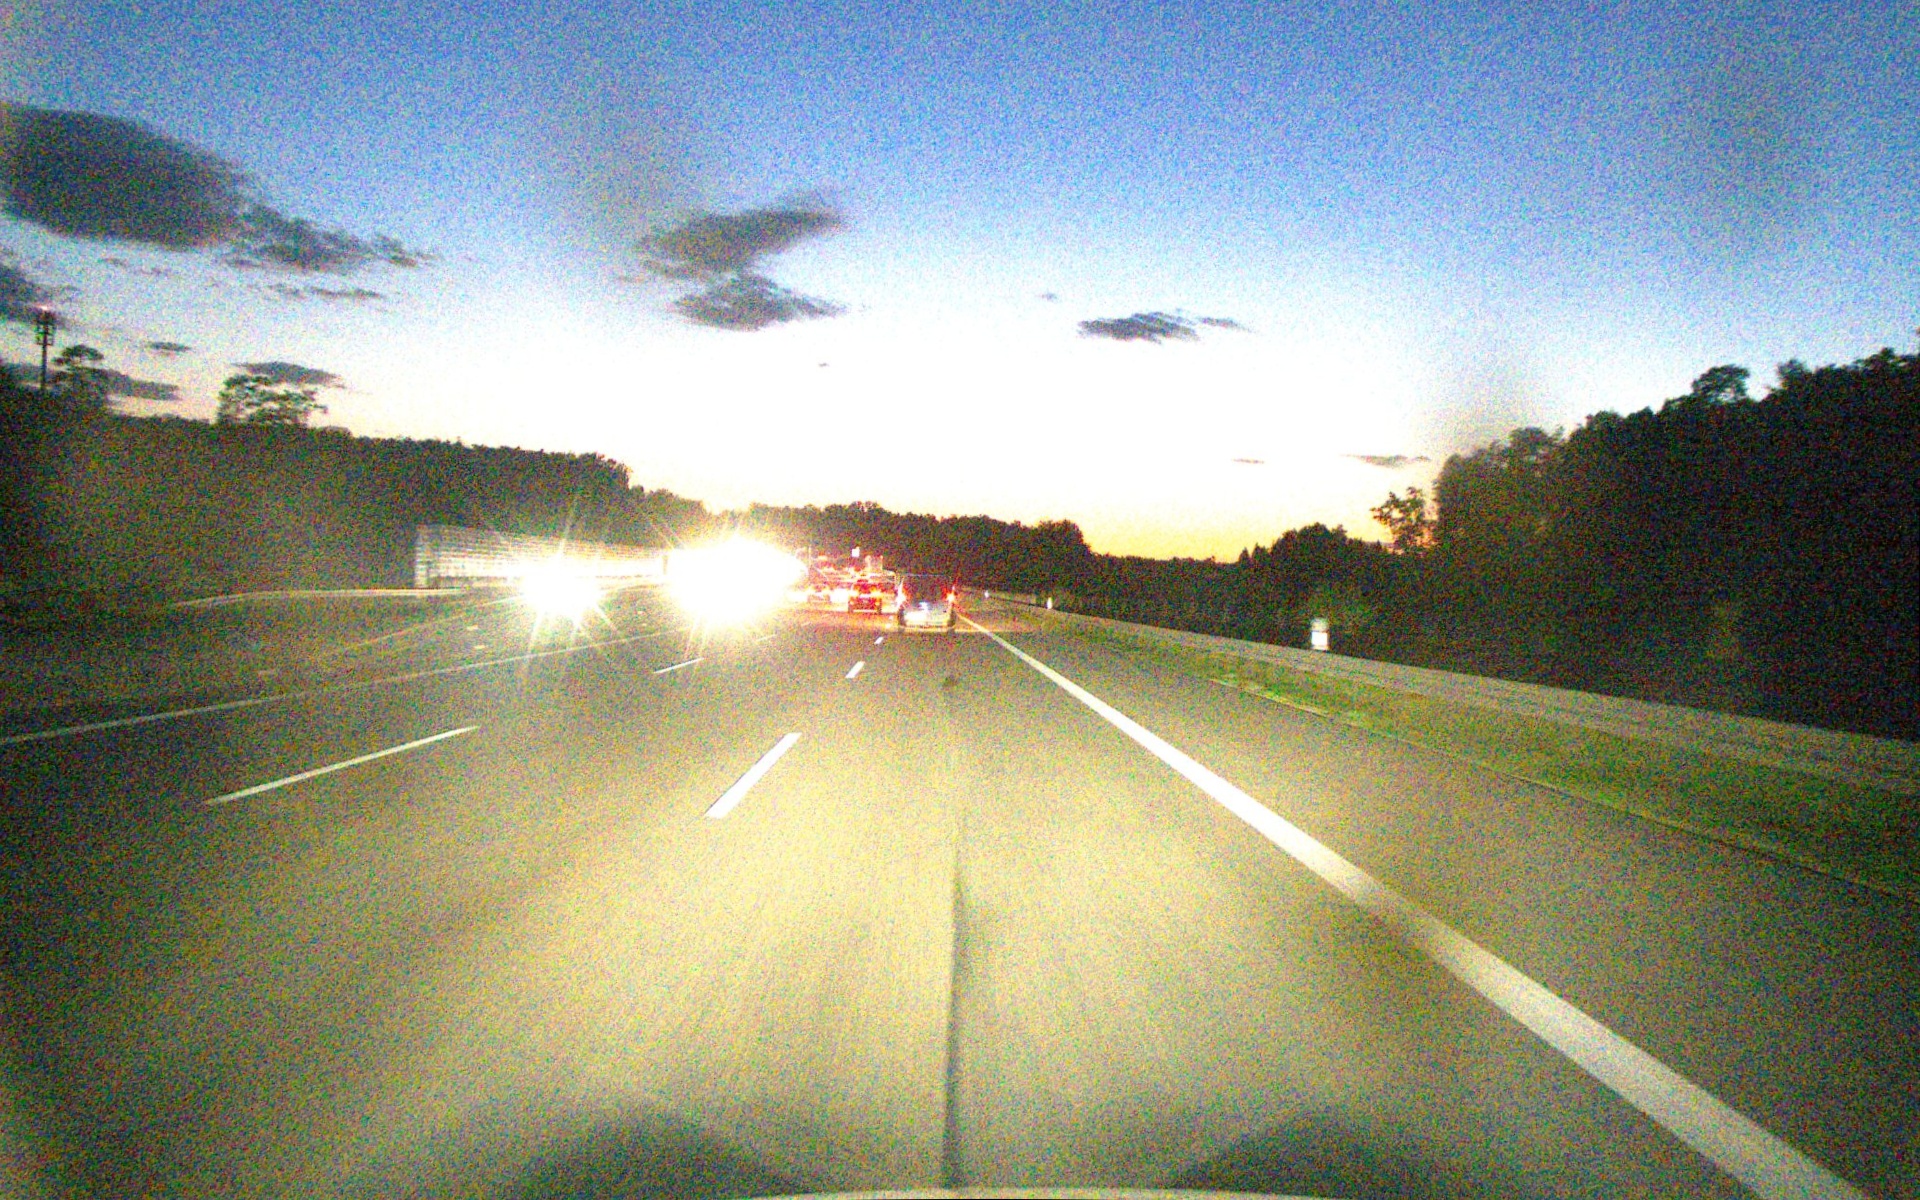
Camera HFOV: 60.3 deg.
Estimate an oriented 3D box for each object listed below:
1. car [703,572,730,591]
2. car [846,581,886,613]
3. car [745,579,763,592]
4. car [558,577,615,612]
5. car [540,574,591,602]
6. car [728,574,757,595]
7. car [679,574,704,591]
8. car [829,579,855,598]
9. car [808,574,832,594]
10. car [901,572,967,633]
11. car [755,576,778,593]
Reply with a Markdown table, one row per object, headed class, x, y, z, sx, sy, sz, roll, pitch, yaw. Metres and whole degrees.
| class | x | y | z | sx | sy | sz | roll | pitch | yaw |
| --- | --- | --- | --- | --- | --- | --- | --- | --- | --- |
| car | -23.933 | -1.804 | 162.722 | 2.062 | 1.820 | 4.868 | 1 | 1 | -1 |
| car | -5.304 | -0.123 | 93.985 | 1.953 | 1.751 | 5.942 | 0 | -1 | 0 |
| car | -29.309 | -2.080 | 235.777 | 2.062 | 1.820 | 4.650 | 1 | 0 | -1 |
| car | -20.276 | -0.293 | 89.937 | 2.062 | 1.820 | 4.658 | 1 | 0 | -1 |
| car | -25.460 | -0.758 | 106.959 | 2.062 | 1.717 | 5.385 | 1 | 0 | -1 |
| car | -19.410 | -1.385 | 147.908 | 2.062 | 1.820 | 4.318 | 1 | 0 | -1 |
| car | -29.852 | -1.908 | 184.024 | 2.062 | 1.820 | 4.868 | 1 | 0 | -1 |
| car | -9.843 | -0.946 | 138.572 | 1.743 | 1.513 | 5.254 | 1 | 1 | 1 |
| car | -10.728 | -1.203 | 127.050 | 1.518 | 1.456 | 5.513 | 1 | -1 | -1 |
| car | -0.931 | 0.058 | 56.422 | 2.152 | 1.989 | 4.761 | 0 | 0 | -2 |
| car | -21.745 | -1.779 | 185.976 | 2.062 | 1.820 | 4.868 | 1 | 1 | -1 |
